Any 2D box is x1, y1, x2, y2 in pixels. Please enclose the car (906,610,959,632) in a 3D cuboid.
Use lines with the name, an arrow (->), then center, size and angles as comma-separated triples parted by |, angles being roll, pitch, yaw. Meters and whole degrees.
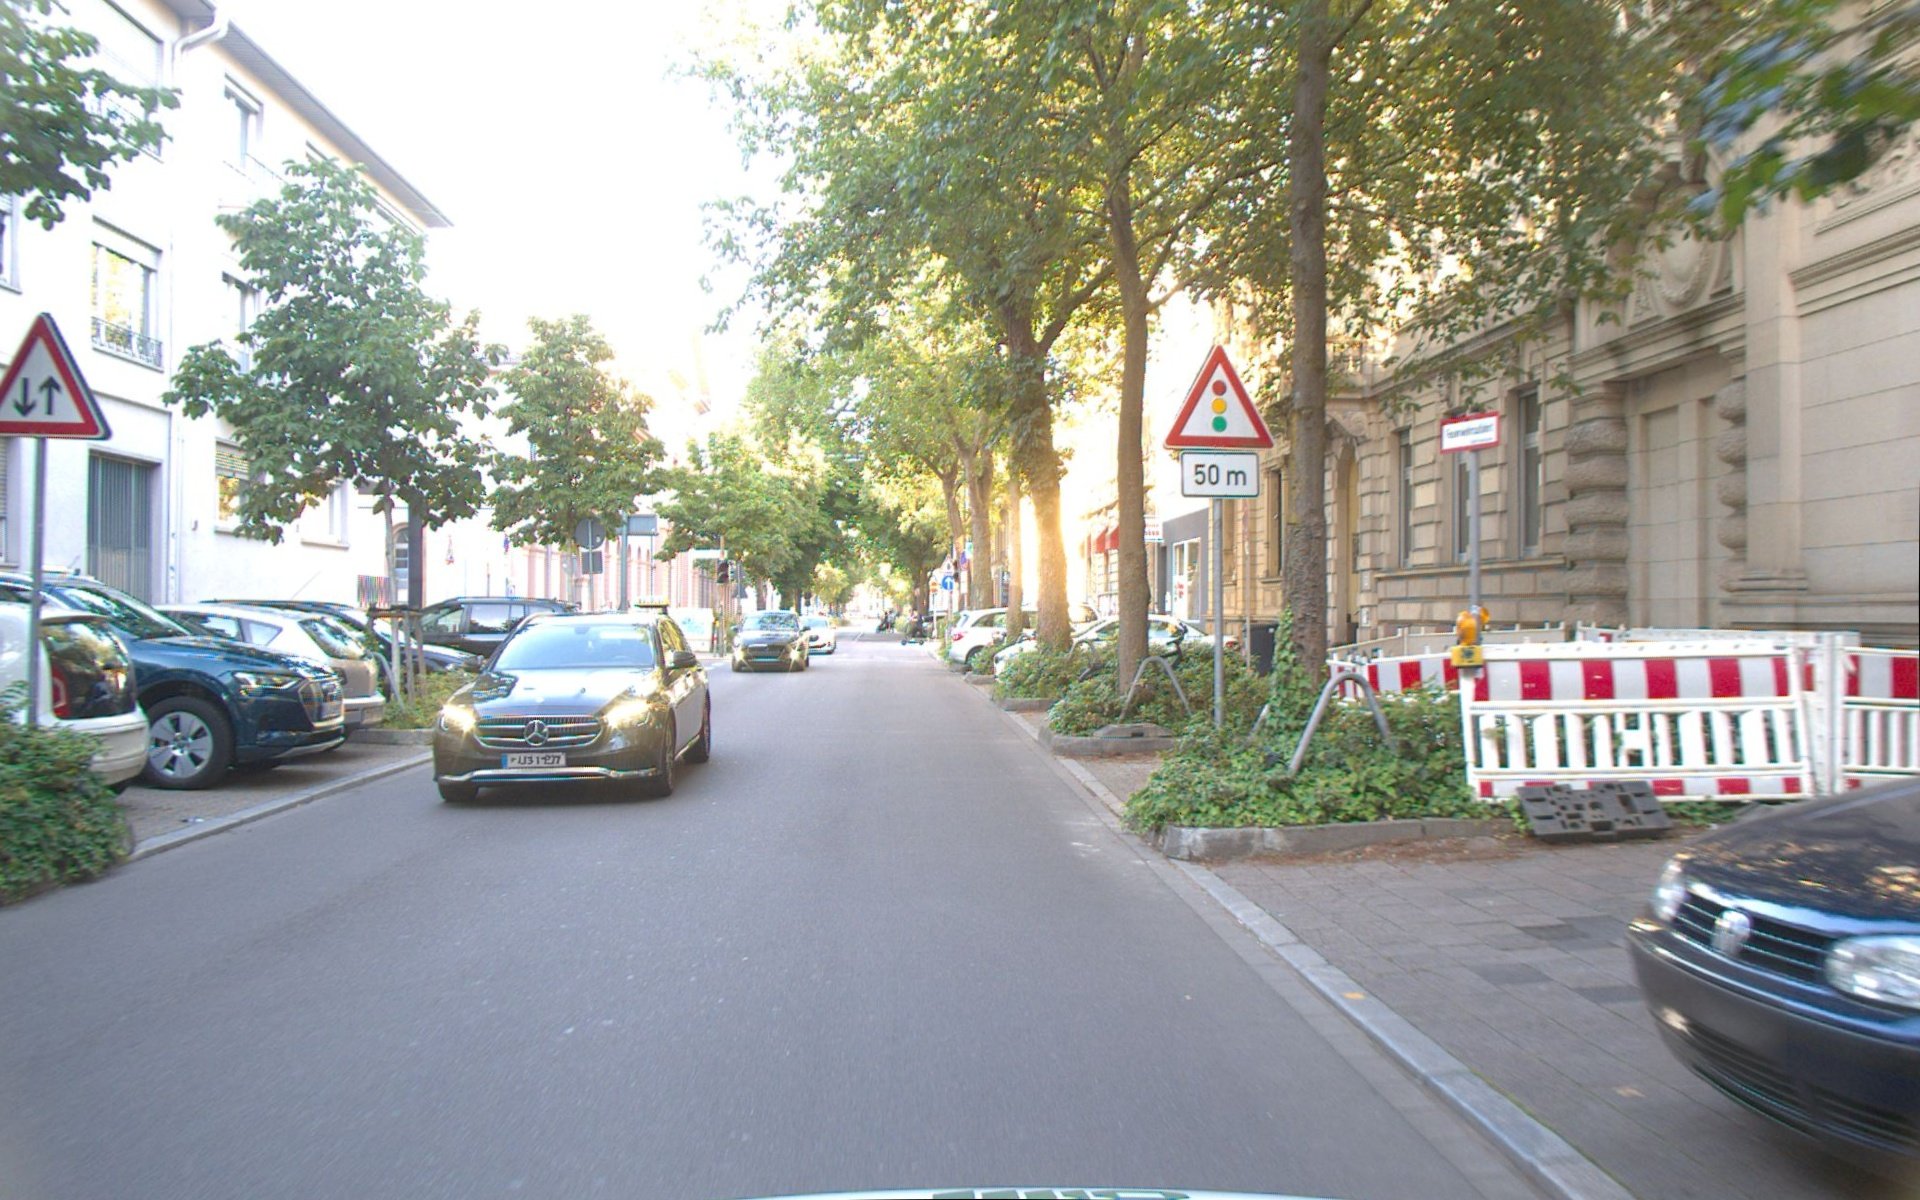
car -> -2.133, 1.582, 127.537 | 3.935, 1.651, 1.779 | 0, -1, -4

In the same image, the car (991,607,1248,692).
car -> 2.844, 0.879, 30.199 | 4.490, 1.462, 1.925 | 0, 0, -1

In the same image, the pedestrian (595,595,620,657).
pedestrian -> -10.762, 0.793, 50.546 | 0.542, 1.883, 0.612 | 0, -1, 12

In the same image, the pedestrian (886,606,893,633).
pedestrian -> -5.374, 1.519, 125.925 | 0.492, 2.049, 0.620 | 1, -1, -1

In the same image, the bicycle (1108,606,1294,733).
bicycle -> 2.744, 0.787, 18.898 | 2.006, 1.384, 0.508 | 2, -1, -5

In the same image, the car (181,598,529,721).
car -> -8.052, 0.780, 22.283 | 3.993, 1.465, 1.754 | 2, -1, -2

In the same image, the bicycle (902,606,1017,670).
bicycle -> -0.022, 1.030, 45.029 | 3.054, 1.692, 0.657 | 1, -1, -7

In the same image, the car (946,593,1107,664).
car -> 1.905, 0.806, 48.056 | 4.452, 1.948, 1.948 | -1, 0, -5

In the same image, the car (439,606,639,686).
car -> -8.606, 0.930, 34.055 | 3.667, 1.484, 1.734 | 2, -1, -4

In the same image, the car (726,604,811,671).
car -> -4.760, 0.897, 41.641 | 1.839, 1.576, 4.272 | -1, 0, -3

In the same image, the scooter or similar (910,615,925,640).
scooter or similar -> -2.014, 1.321, 78.391 | 0.491, 1.165, 1.251 | 0, -1, 7

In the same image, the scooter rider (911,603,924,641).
scooter rider -> -2.014, 1.050, 78.437 | 0.484, 1.823, 0.875 | 0, -2, 7

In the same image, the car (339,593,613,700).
car -> -8.028, 0.763, 27.740 | 4.010, 1.660, 1.935 | 1, -1, -2

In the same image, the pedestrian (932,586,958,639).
pedestrian -> -0.642, 0.525, 69.786 | 1.022, 2.184, 1.063 | 1, -1, -3

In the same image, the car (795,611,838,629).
car -> -16.955, 2.357, 195.962 | 4.962, 2.119, 2.262 | 0, 0, -2

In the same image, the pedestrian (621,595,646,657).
pedestrian -> -9.963, 0.796, 50.441 | 0.542, 1.883, 0.612 | 0, -1, 11

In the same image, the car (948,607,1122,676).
car -> 1.796, 0.986, 40.430 | 4.138, 1.587, 1.971 | -1, 0, 0

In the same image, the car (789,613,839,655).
car -> -5.638, 1.287, 64.204 | 1.840, 1.576, 4.271 | -1, 0, -4

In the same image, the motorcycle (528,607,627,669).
motorcycle -> -9.089, 0.901, 39.282 | 2.103, 1.444, 0.968 | -1, -1, 19

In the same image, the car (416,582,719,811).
car -> -3.239, 0.724, 14.567 | 1.840, 1.669, 4.642 | -1, 0, -4

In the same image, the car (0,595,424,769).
car -> -7.669, 0.778, 16.580 | 3.946, 1.520, 1.780 | 2, -1, 0

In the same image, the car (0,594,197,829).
car -> -7.654, 0.690, 11.532 | 3.768, 1.476, 1.854 | 1, 0, -3

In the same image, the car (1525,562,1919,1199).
car -> 3.863, 0.594, 4.241 | 4.140, 1.507, 1.853 | -3, 0, -3

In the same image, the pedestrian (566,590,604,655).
pedestrian -> -10.822, 0.656, 47.694 | 0.761, 1.822, 0.784 | 3, 0, -34

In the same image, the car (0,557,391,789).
car -> -7.545, 0.571, 14.178 | 4.573, 1.796, 2.155 | 1, -1, -4

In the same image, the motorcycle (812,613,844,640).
motorcycle -> -5.633, 1.120, 70.804 | 1.285, 1.109, 2.395 | 1, -1, -3

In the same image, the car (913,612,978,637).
car -> -0.941, 1.567, 106.531 | 4.109, 1.506, 1.851 | -1, 0, -3

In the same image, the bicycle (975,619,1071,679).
bicycle -> 1.369, 1.048, 35.736 | 1.986, 1.225, 0.486 | -2, -1, -16
